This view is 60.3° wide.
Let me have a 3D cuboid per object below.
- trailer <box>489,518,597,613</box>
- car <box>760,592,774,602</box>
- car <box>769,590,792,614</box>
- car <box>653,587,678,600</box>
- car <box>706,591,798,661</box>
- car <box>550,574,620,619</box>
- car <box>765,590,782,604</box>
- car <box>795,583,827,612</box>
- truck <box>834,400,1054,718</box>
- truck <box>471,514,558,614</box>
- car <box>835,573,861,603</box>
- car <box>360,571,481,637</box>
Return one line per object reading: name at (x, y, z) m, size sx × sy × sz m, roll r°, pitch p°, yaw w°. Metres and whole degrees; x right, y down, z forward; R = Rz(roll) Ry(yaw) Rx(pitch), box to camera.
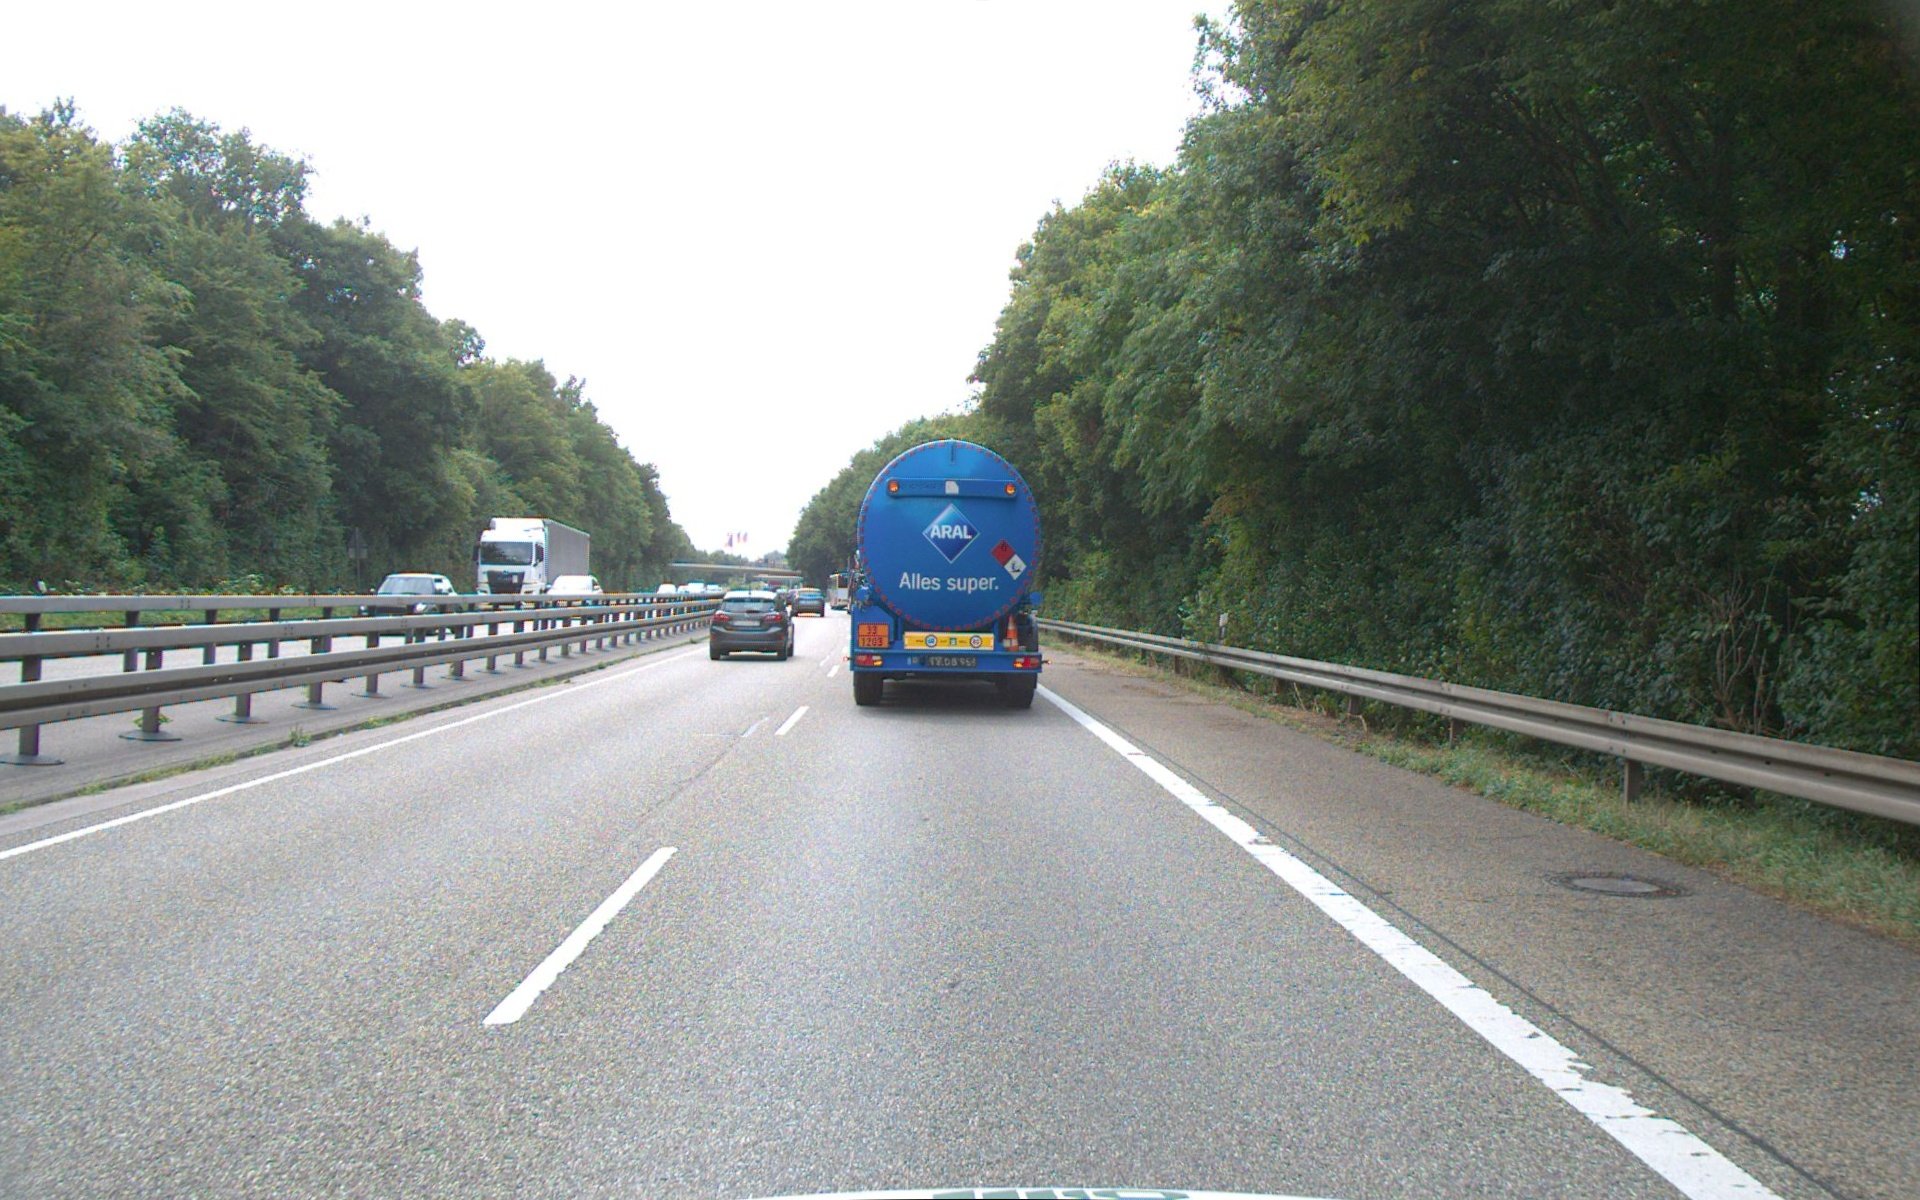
trailer at (-19.601, -1.504, 78.526) m, size 2.611 × 4.117 × 12.863 m, roll 0°, pitch 0°, yaw -4°
car at (-28.940, -0.459, 248.623) m, size 1.954 × 1.579 × 3.996 m, roll 0°, pitch 0°, yaw -5°
car at (-16.188, 0.175, 148.946) m, size 1.956 × 2.049 × 3.993 m, roll 0°, pitch 0°, yaw -7°
car at (-26.508, -0.573, 149.057) m, size 1.707 × 1.210 × 4.288 m, roll 0°, pitch 0°, yaw -3°
car at (-4.585, 0.541, 37.032) m, size 1.790 × 1.483 × 4.635 m, roll 0°, pitch 0°, yaw -4°
car at (-13.600, -0.135, 60.173) m, size 1.756 × 1.576 × 4.127 m, roll 0°, pitch 0°, yaw -2°
car at (-21.080, -0.369, 186.845) m, size 1.918 × 1.595 × 3.994 m, roll 0°, pitch 0°, yaw -7°
car at (-8.666, -0.162, 96.036) m, size 1.791 × 1.637 × 4.162 m, roll 0°, pitch 0°, yaw -6°
truck at (-0.217, -0.532, 24.252) m, size 2.699 × 3.914 × 7.688 m, roll 0°, pitch 0°, yaw 0°
truck at (-19.168, -1.483, 71.415) m, size 2.639 × 4.134 × 5.318 m, roll 0°, pitch 0°, yaw -4°
car at (-8.599, -0.905, 127.371) m, size 1.954 × 2.284 × 3.997 m, roll 0°, pitch 0°, yaw -4°
car at (-12.544, 0.088, 38.683) m, size 1.674 × 1.472 × 3.775 m, roll 0°, pitch 0°, yaw -2°
